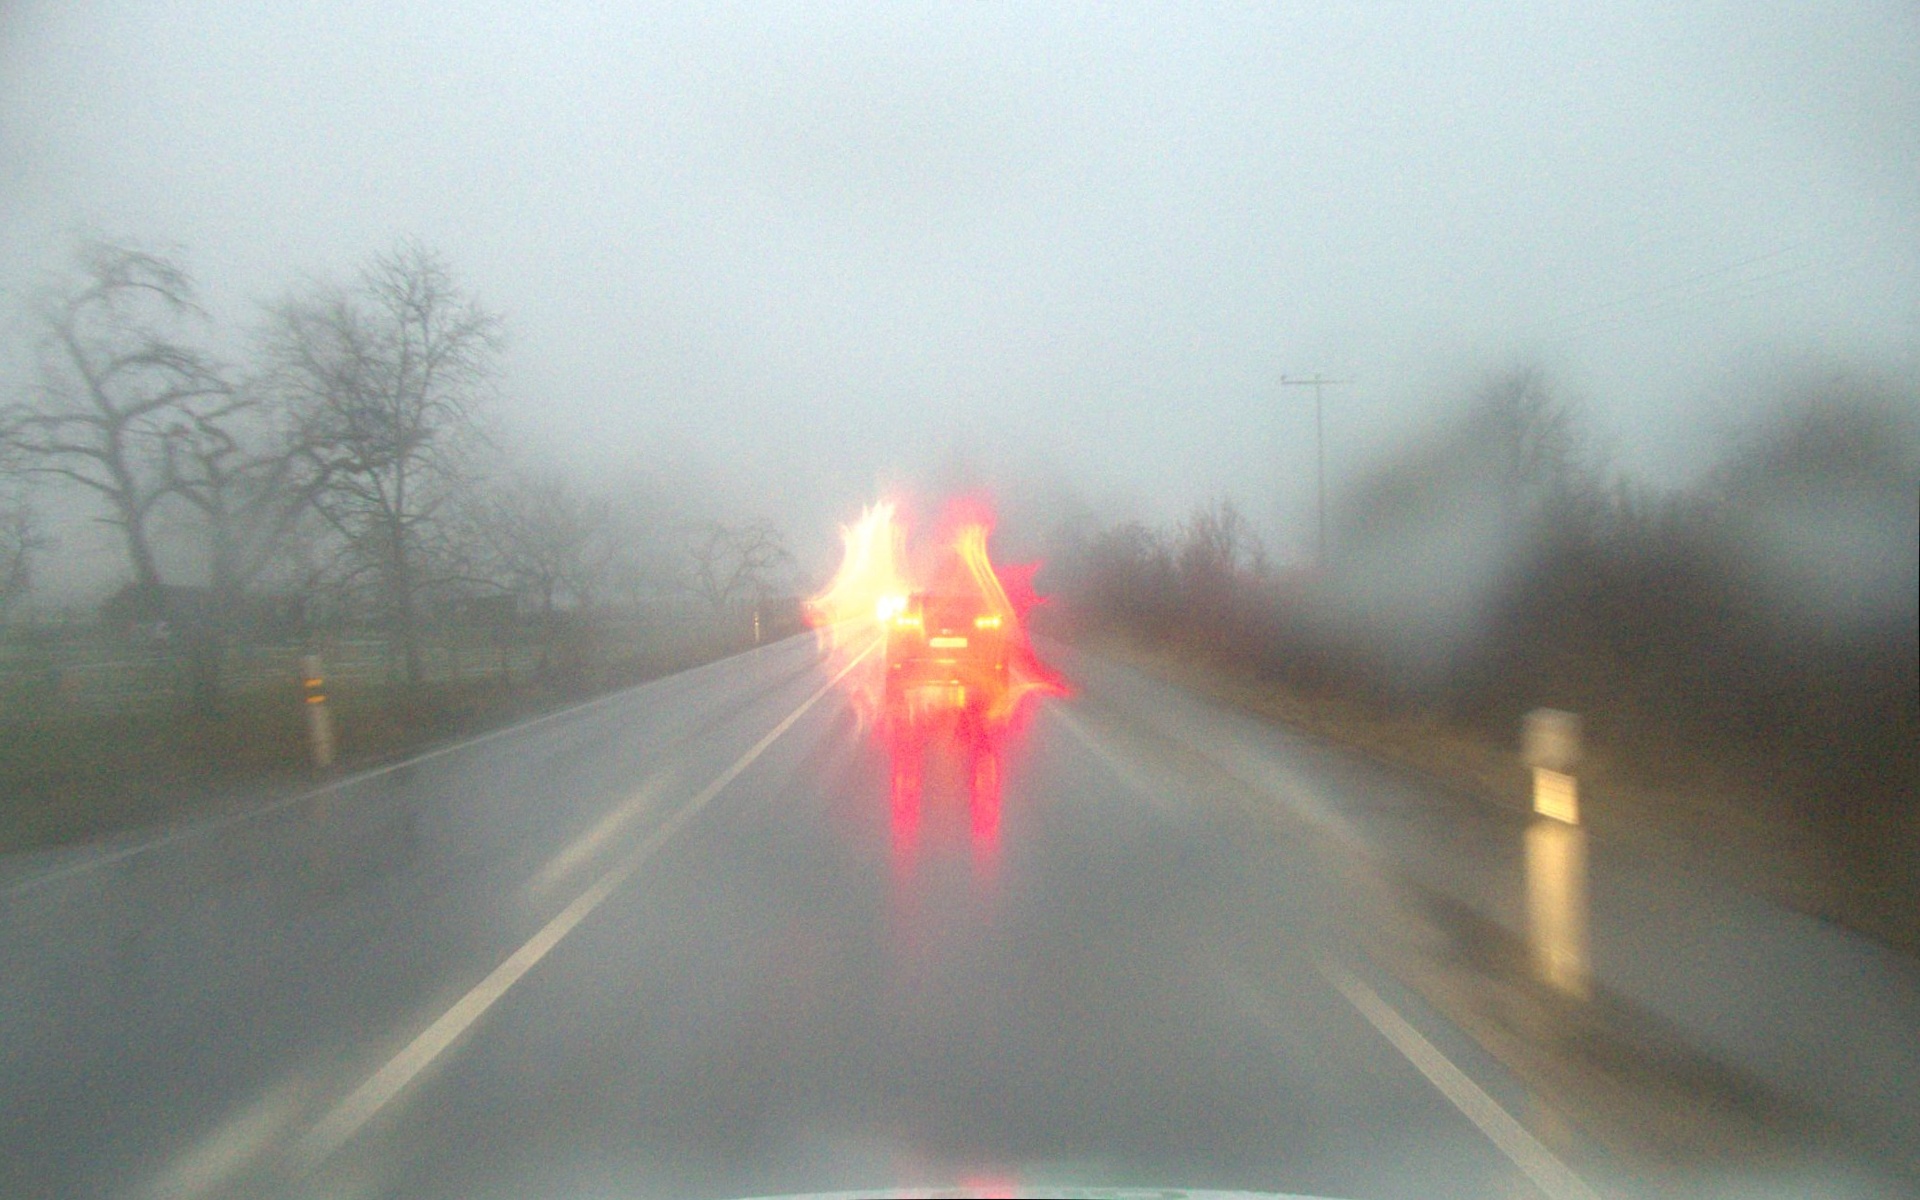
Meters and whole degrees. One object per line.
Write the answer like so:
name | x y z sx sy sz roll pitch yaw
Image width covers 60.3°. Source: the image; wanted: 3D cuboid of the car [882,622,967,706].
car | -0.858 1.506 40.506 1.953 1.881 3.999 1 0 -1

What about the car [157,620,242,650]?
car | -35.567 1.641 77.411 3.384 1.366 1.593 1 0 -16

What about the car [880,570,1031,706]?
car | -0.099 0.512 25.236 2.077 1.852 4.979 0 0 -1
